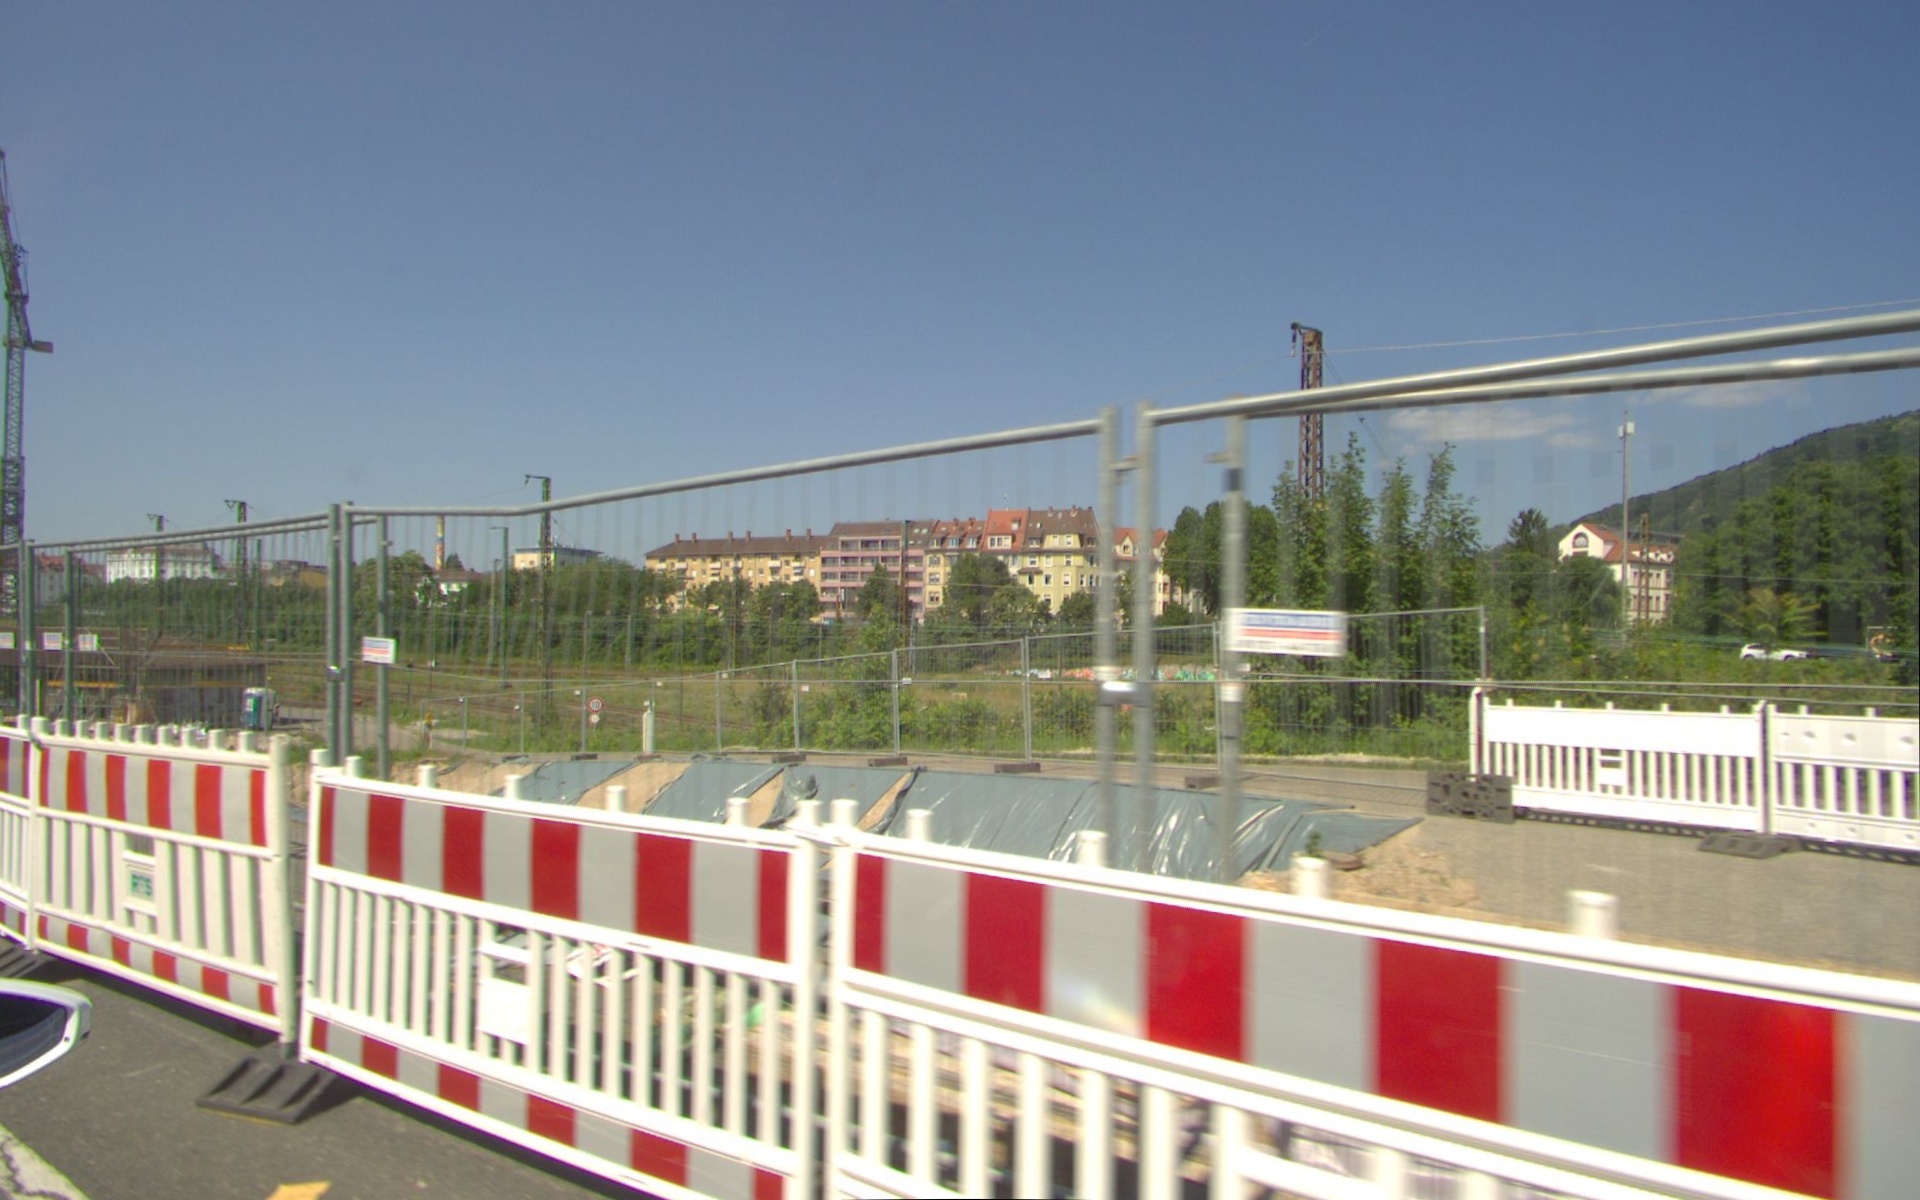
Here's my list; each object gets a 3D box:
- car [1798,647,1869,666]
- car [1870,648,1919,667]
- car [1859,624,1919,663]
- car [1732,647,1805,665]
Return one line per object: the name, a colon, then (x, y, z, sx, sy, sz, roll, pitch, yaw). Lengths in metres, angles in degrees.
car: (67.940, 4.385, 77.919, 1.756, 1.384, 3.827, 1, -2, -27)
car: (70.059, 4.243, 74.010, 1.758, 1.384, 3.824, 1, -2, -29)
car: (72.039, 3.297, 76.581, 1.842, 2.888, 4.610, 1, -2, -34)
car: (66.035, 4.556, 81.868, 1.837, 1.384, 4.300, 1, -2, -26)
